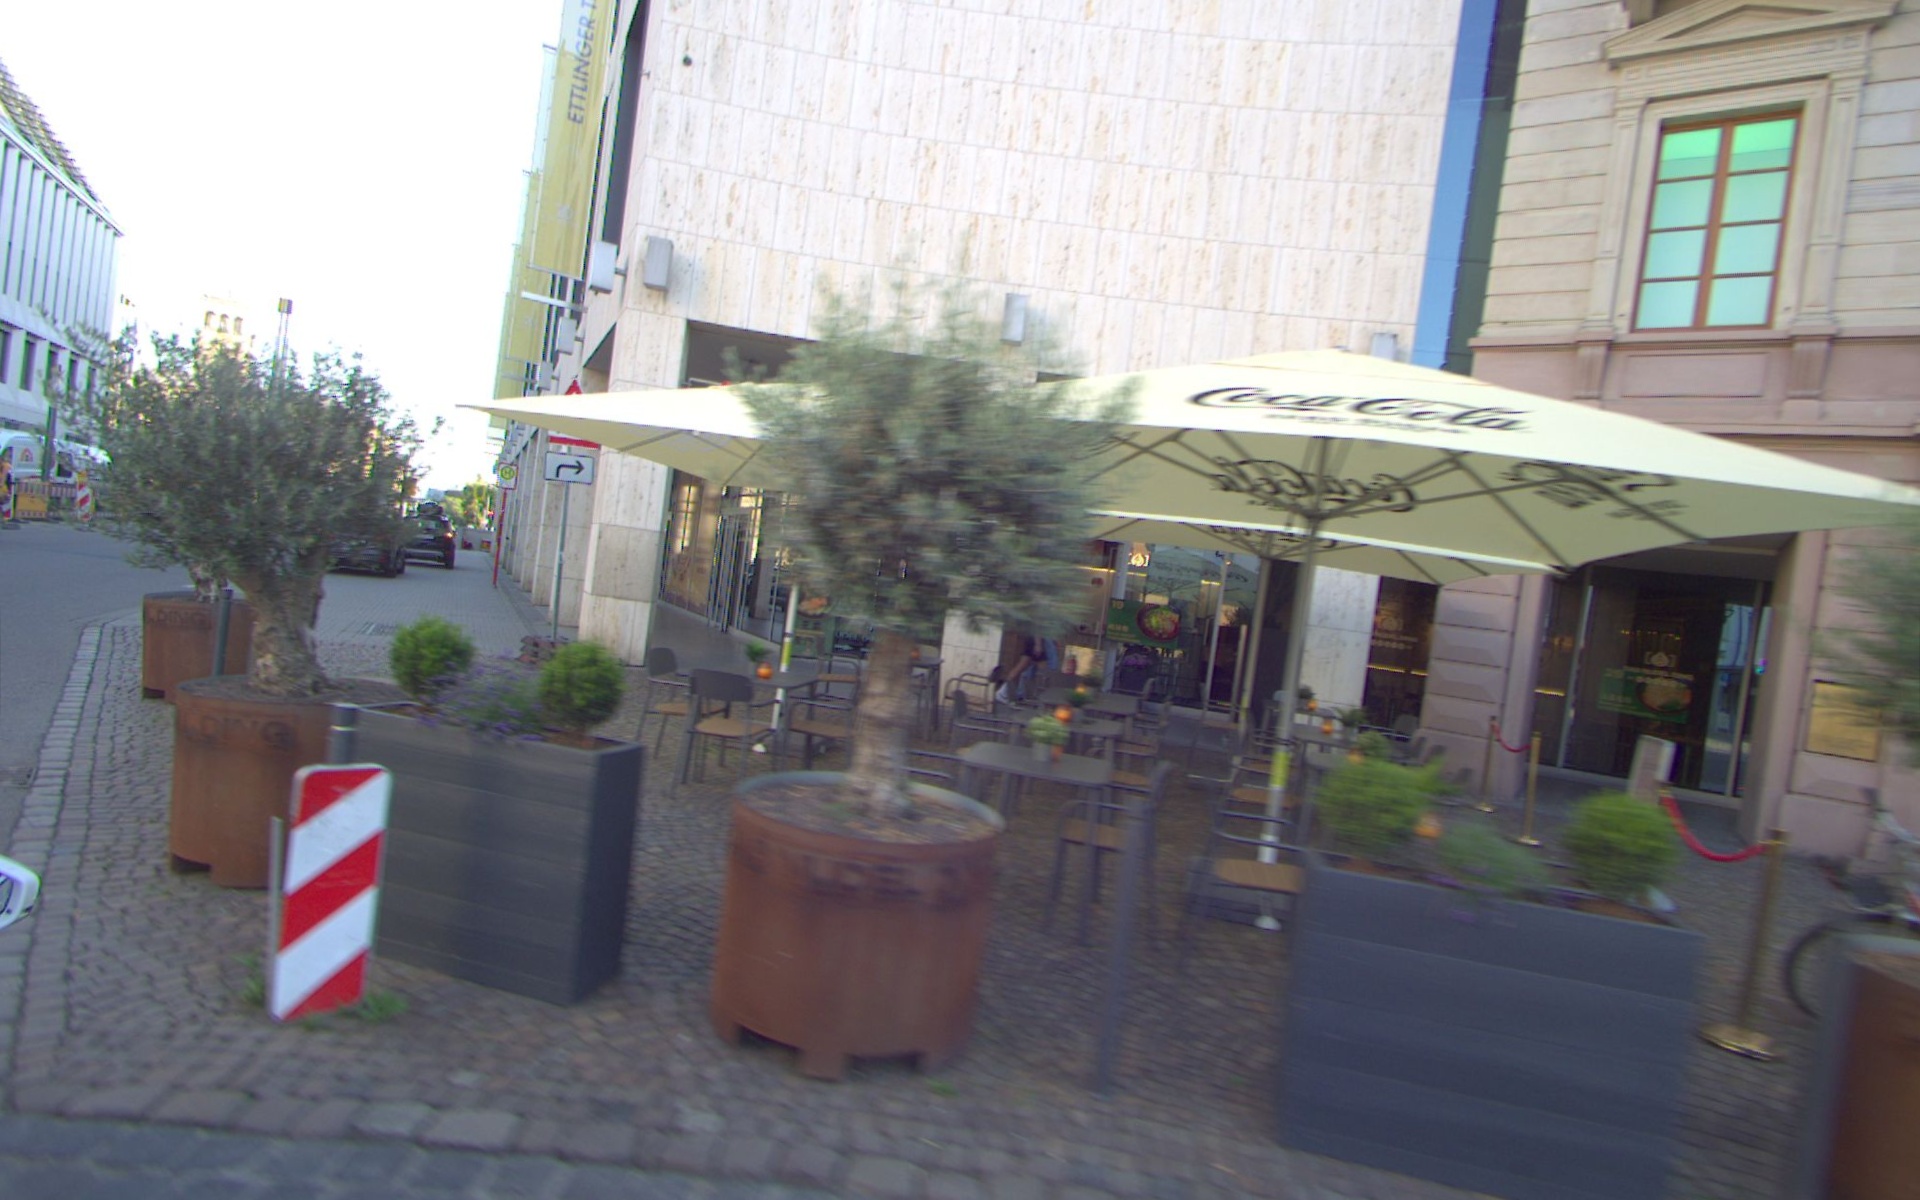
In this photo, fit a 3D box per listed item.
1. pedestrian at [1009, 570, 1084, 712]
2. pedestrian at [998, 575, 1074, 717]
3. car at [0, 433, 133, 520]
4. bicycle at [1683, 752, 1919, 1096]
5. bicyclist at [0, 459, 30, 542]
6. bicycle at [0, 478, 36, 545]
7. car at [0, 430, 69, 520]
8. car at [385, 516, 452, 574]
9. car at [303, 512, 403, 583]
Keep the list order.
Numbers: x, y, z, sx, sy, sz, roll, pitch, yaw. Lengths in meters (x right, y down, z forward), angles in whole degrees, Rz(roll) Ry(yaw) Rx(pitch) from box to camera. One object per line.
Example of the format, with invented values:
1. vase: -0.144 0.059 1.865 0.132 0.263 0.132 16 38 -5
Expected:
1. pedestrian: 1.207 0.566 14.193 0.705 1.885 0.668 8 1 -4
2. pedestrian: 1.008 0.599 13.476 0.705 1.767 0.668 8 1 -4
3. car: -32.431 -4.366 36.612 2.155 2.501 5.956 8 0 -27
4. bicycle: 4.160 1.427 4.266 0.596 1.143 1.903 8 2 -2
5. bicyclist: -18.601 -1.946 19.299 0.790 1.551 0.966 7 1 -30
6. bicycle: -18.629 -1.735 19.269 0.790 1.232 2.215 7 1 -30
7. car: -29.152 -3.814 30.001 2.155 2.501 5.957 8 0 -27
8. car: -18.046 -1.852 33.668 1.751 1.660 4.029 4 2 -27
9. car: -15.385 -1.359 25.682 1.778 1.510 4.164 4 2 -27
